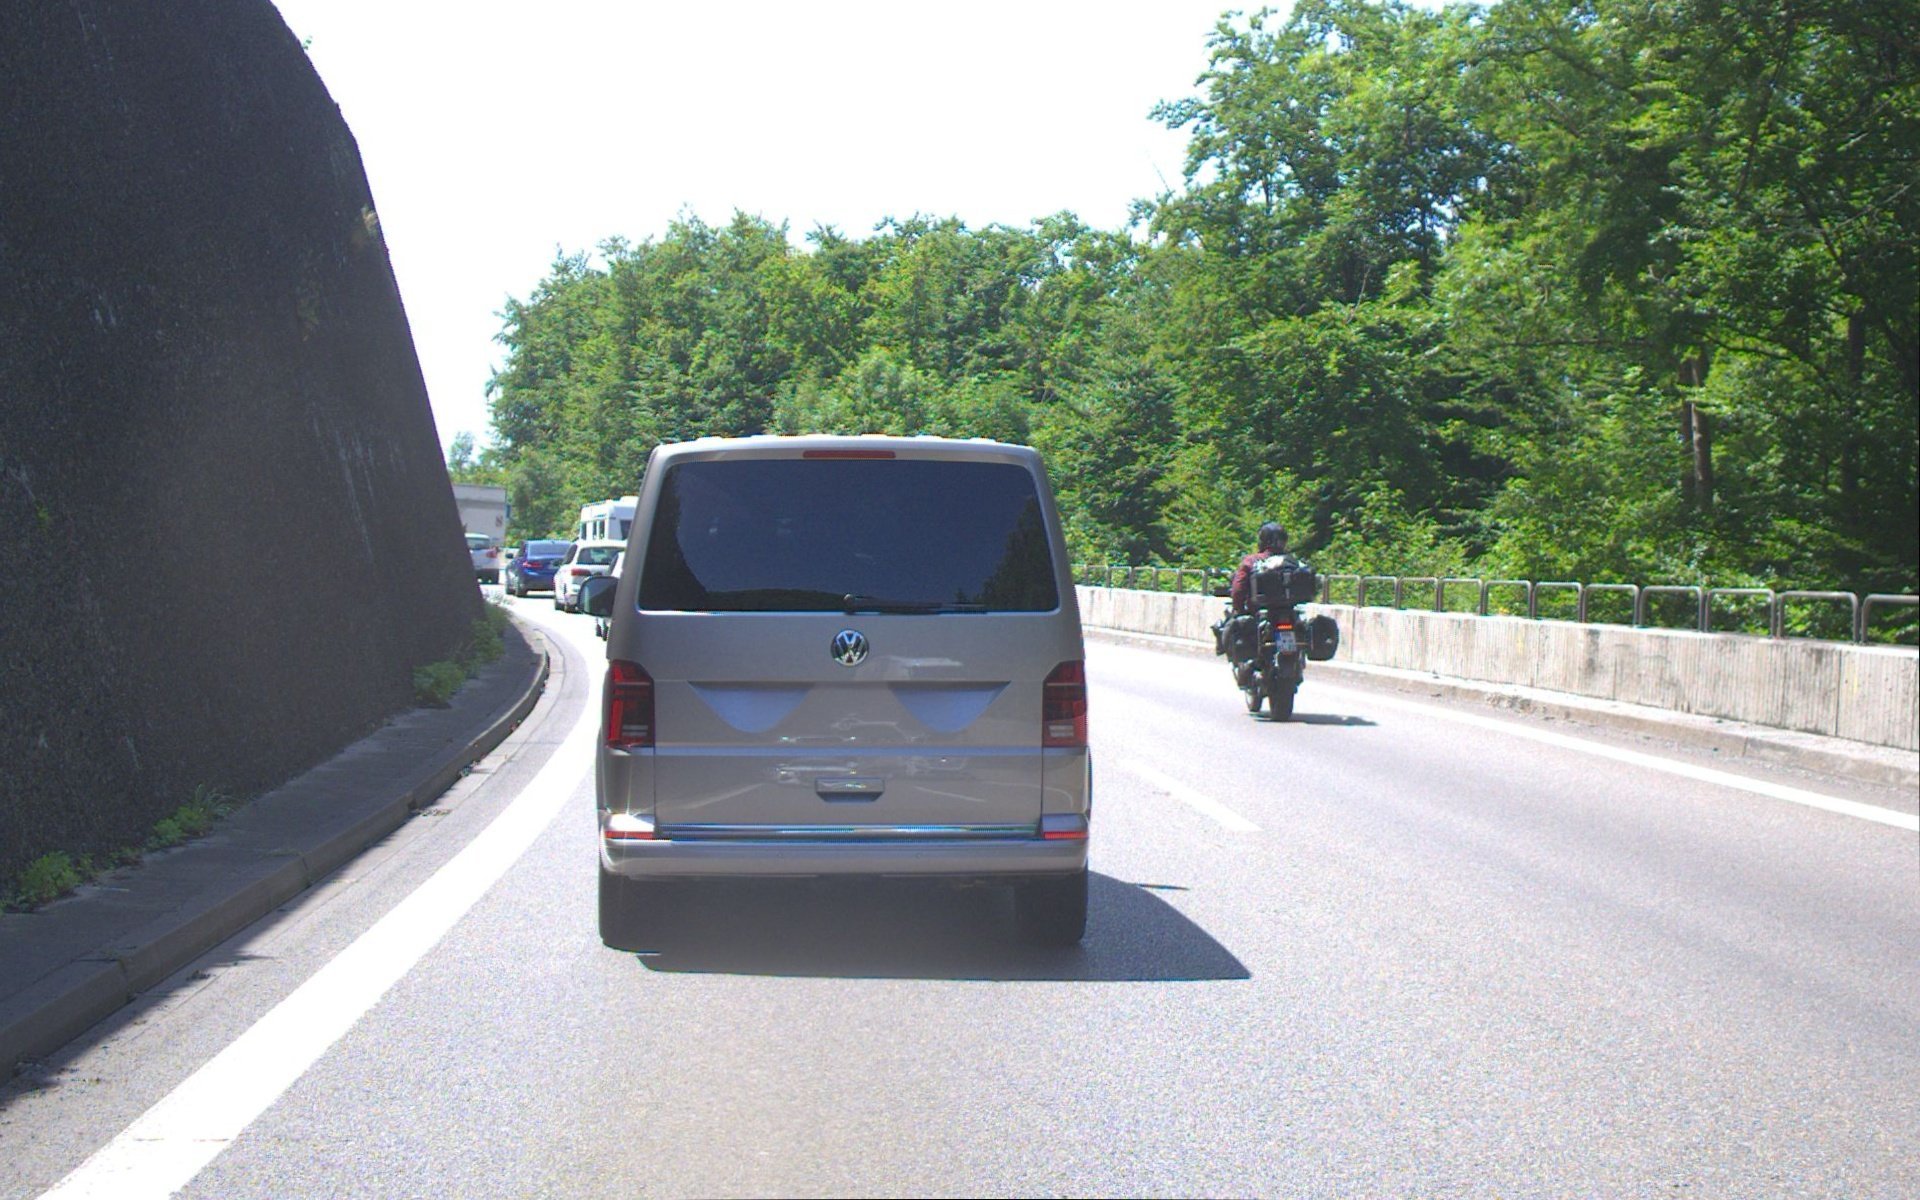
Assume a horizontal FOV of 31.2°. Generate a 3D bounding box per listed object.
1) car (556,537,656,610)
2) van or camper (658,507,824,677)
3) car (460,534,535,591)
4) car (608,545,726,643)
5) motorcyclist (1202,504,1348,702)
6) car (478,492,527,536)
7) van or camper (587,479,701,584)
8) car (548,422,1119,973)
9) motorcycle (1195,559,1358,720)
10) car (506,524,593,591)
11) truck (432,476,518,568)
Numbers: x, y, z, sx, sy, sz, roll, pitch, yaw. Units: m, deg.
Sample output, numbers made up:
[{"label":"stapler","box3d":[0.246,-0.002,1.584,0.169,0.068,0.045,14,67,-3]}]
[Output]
[{"label":"car","box3d":[-7.589,-0.586,73.414,1.862,1.481,4.001,1,1,-9]},{"label":"van or camper","box3d":[-2.702,-0.124,41.655,1.853,1.935,4.166,1,1,-5]},{"label":"car","box3d":[-13.844,-1.130,102.710,1.993,1.612,4.001,1,1,-10]},{"label":"car","box3d":[-4.634,-0.127,54.823,1.771,1.467,4.001,1,1,-4]},{"label":"motorcyclist","box3d":[2.916,0.019,31.951,1.060,1.794,1.338,1,1,-7]},{"label":"car","box3d":[-21.224,-3.977,159.489,1.993,2.007,4.001,1,1,-11]},{"label":"van or camper","box3d":[-9.605,-2.103,103.978,2.603,2.845,6.338,5,1,-11]},{"label":"car","box3d":[-0.722,0.317,14.610,1.940,1.924,4.695,2,1,-7]},{"label":"motorcycle","box3d":[2.926,0.341,32.076,0.972,1.415,2.681,1,1,-6]},{"label":"car","box3d":[-10.427,-1.088,87.141,1.857,1.614,4.001,1,1,-11]},{"label":"truck","box3d":[-20.494,-3.278,144.865,2.924,3.674,7.727,1,1,-12]}]
